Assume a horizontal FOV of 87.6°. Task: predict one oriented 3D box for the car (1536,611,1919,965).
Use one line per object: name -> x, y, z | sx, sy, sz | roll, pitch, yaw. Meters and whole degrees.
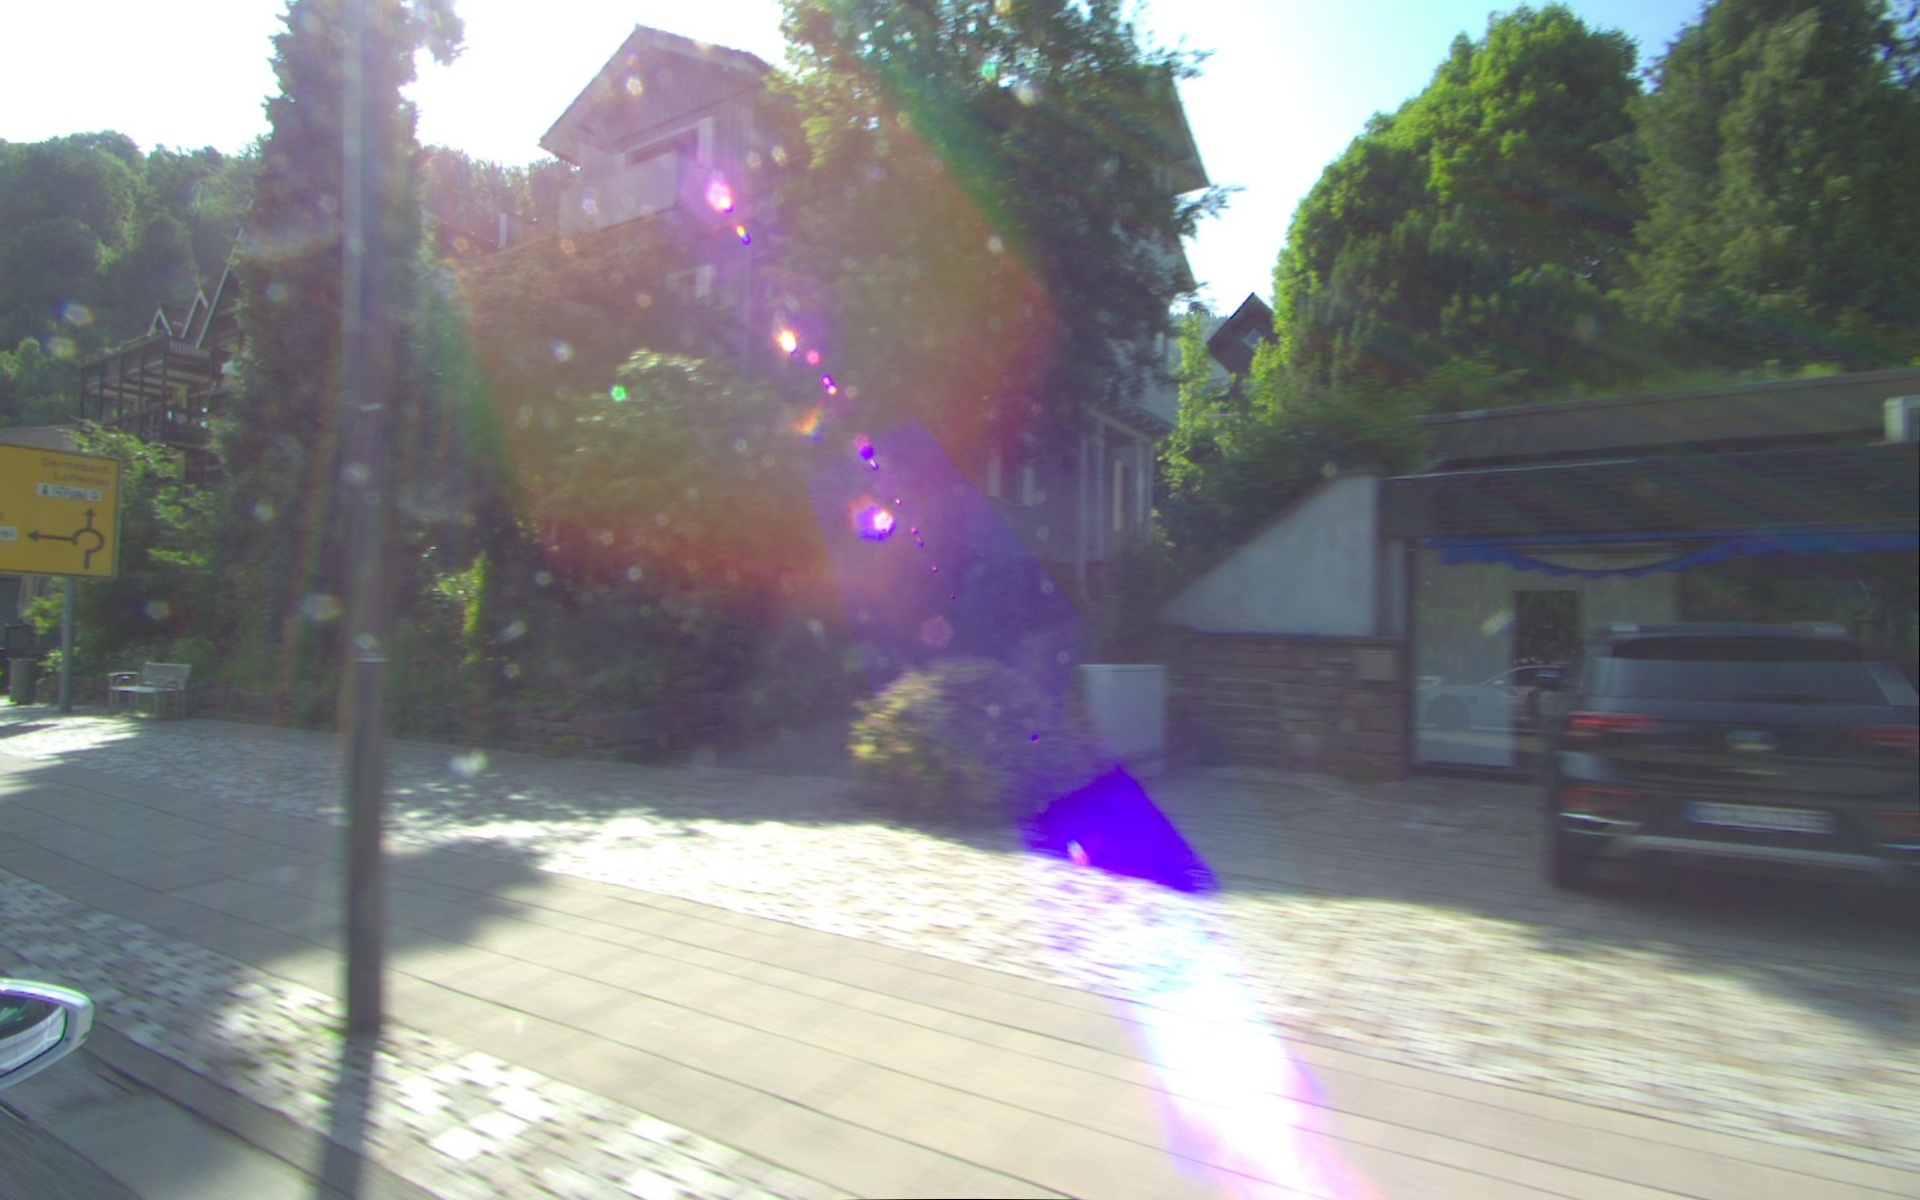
car -> 4.775, 0.929, 6.545 | 1.722, 1.600, 3.871 | 0, -2, 30
